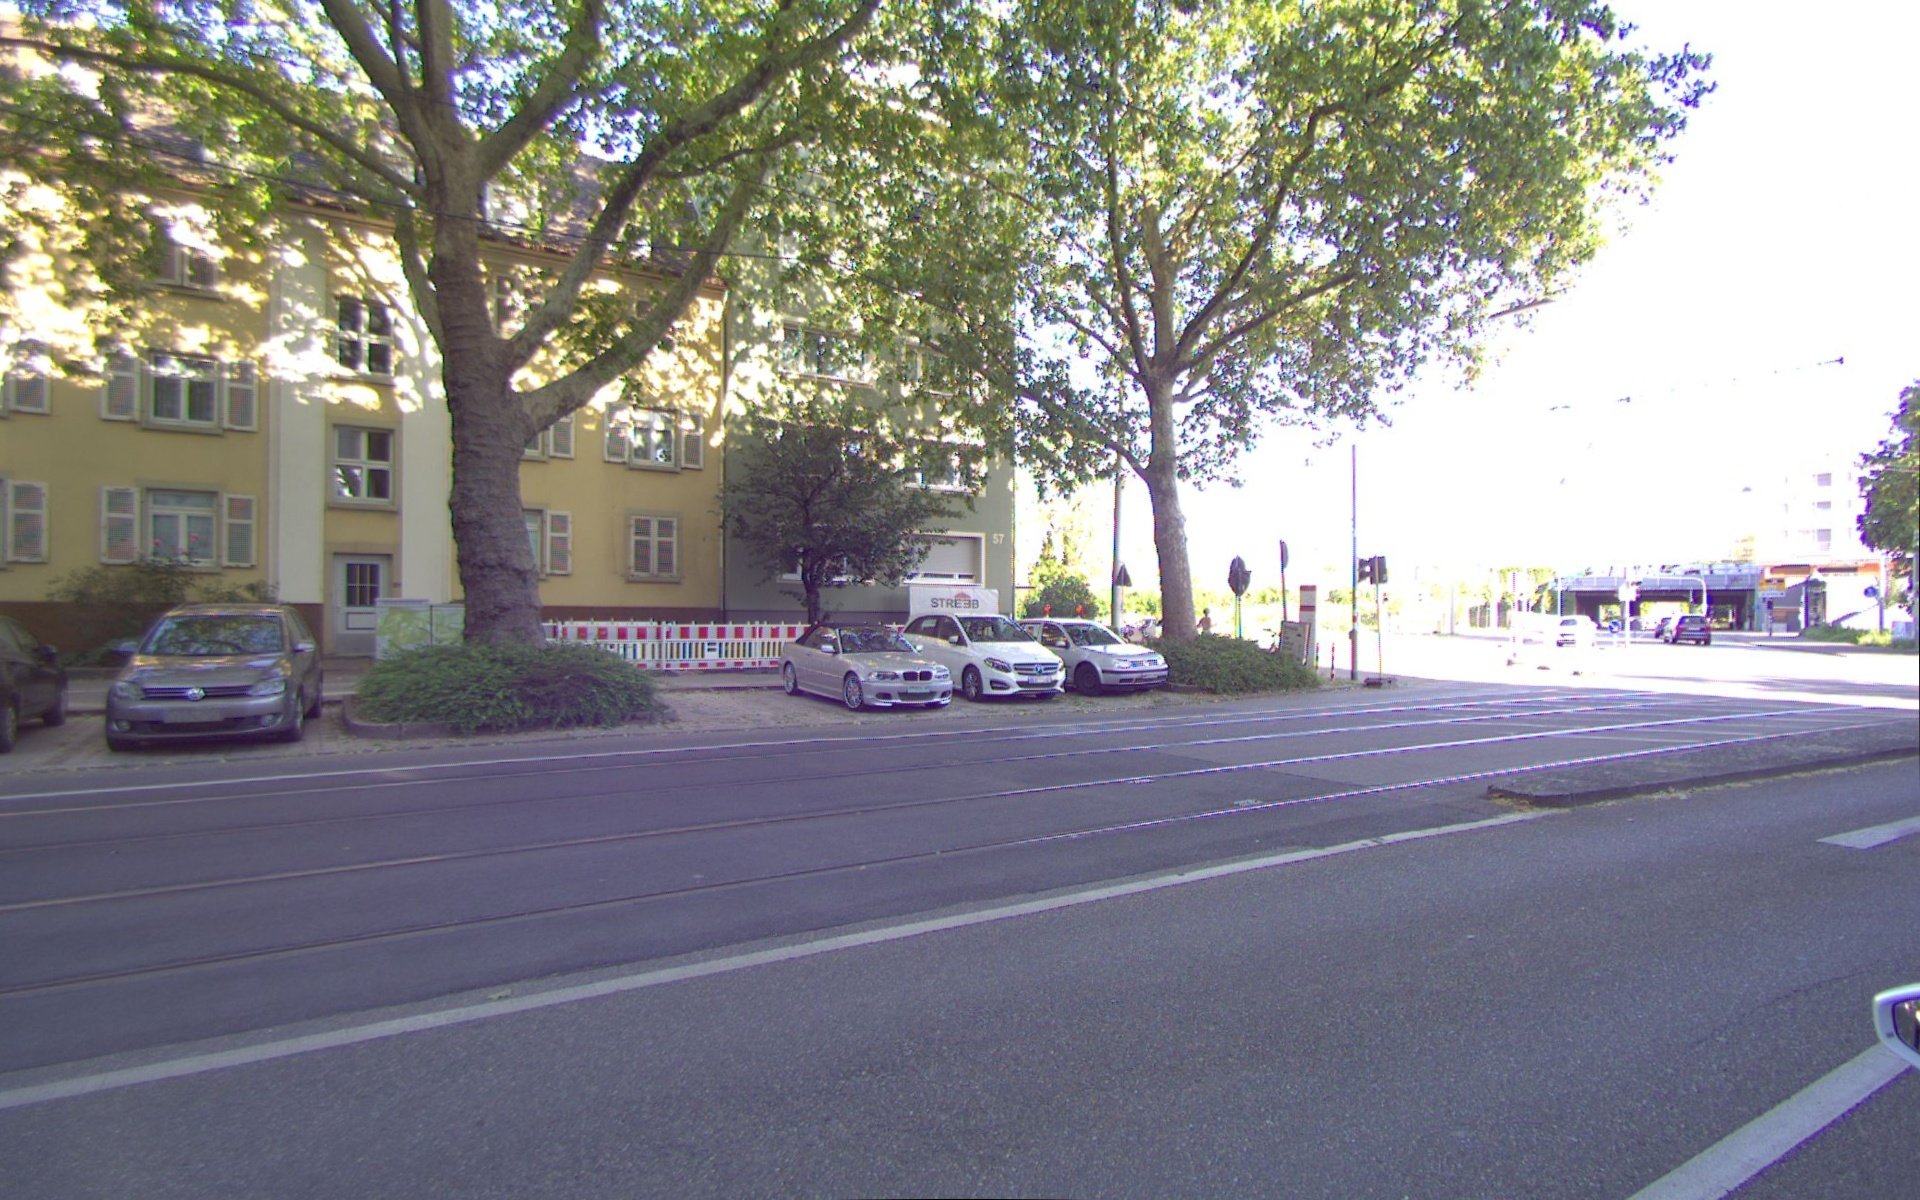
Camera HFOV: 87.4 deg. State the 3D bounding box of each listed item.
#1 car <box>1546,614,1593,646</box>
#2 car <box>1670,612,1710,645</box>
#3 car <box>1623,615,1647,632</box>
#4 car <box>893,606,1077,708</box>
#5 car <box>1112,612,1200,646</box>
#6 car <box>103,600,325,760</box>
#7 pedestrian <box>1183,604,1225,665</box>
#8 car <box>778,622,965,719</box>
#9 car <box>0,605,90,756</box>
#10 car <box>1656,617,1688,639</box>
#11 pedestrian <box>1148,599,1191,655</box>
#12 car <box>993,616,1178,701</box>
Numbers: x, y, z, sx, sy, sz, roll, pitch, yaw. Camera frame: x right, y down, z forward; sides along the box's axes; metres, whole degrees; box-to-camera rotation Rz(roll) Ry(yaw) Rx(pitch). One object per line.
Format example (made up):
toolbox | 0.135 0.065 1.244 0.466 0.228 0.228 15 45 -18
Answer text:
car | 33.482 1.628 55.143 1.860 1.606 3.823 2 0 37
car | 44.537 1.706 61.367 1.883 1.906 4.830 0 -1 35
car | 70.199 2.449 104.481 1.860 1.606 3.823 2 0 37
car | 0.360 0.985 19.163 1.651 1.669 3.949 1 0 -31
car | 10.579 1.549 54.251 4.284 1.788 1.984 0 -1 31
car | -8.989 0.834 12.426 1.652 1.602 3.953 1 0 -29
pedestrian | 6.939 0.977 28.555 0.763 1.683 0.951 2 0 40
car | -1.639 1.111 17.319 1.651 1.370 3.949 1 0 -31
car | -11.455 0.835 11.394 1.652 1.518 3.778 1 0 -29
car | 53.453 2.082 75.505 1.773 1.539 4.195 2 0 33
pedestrian | 6.424 0.816 30.848 0.919 1.669 0.841 2 0 -30
car | 2.451 1.112 20.538 1.651 1.473 3.949 1 0 -31
